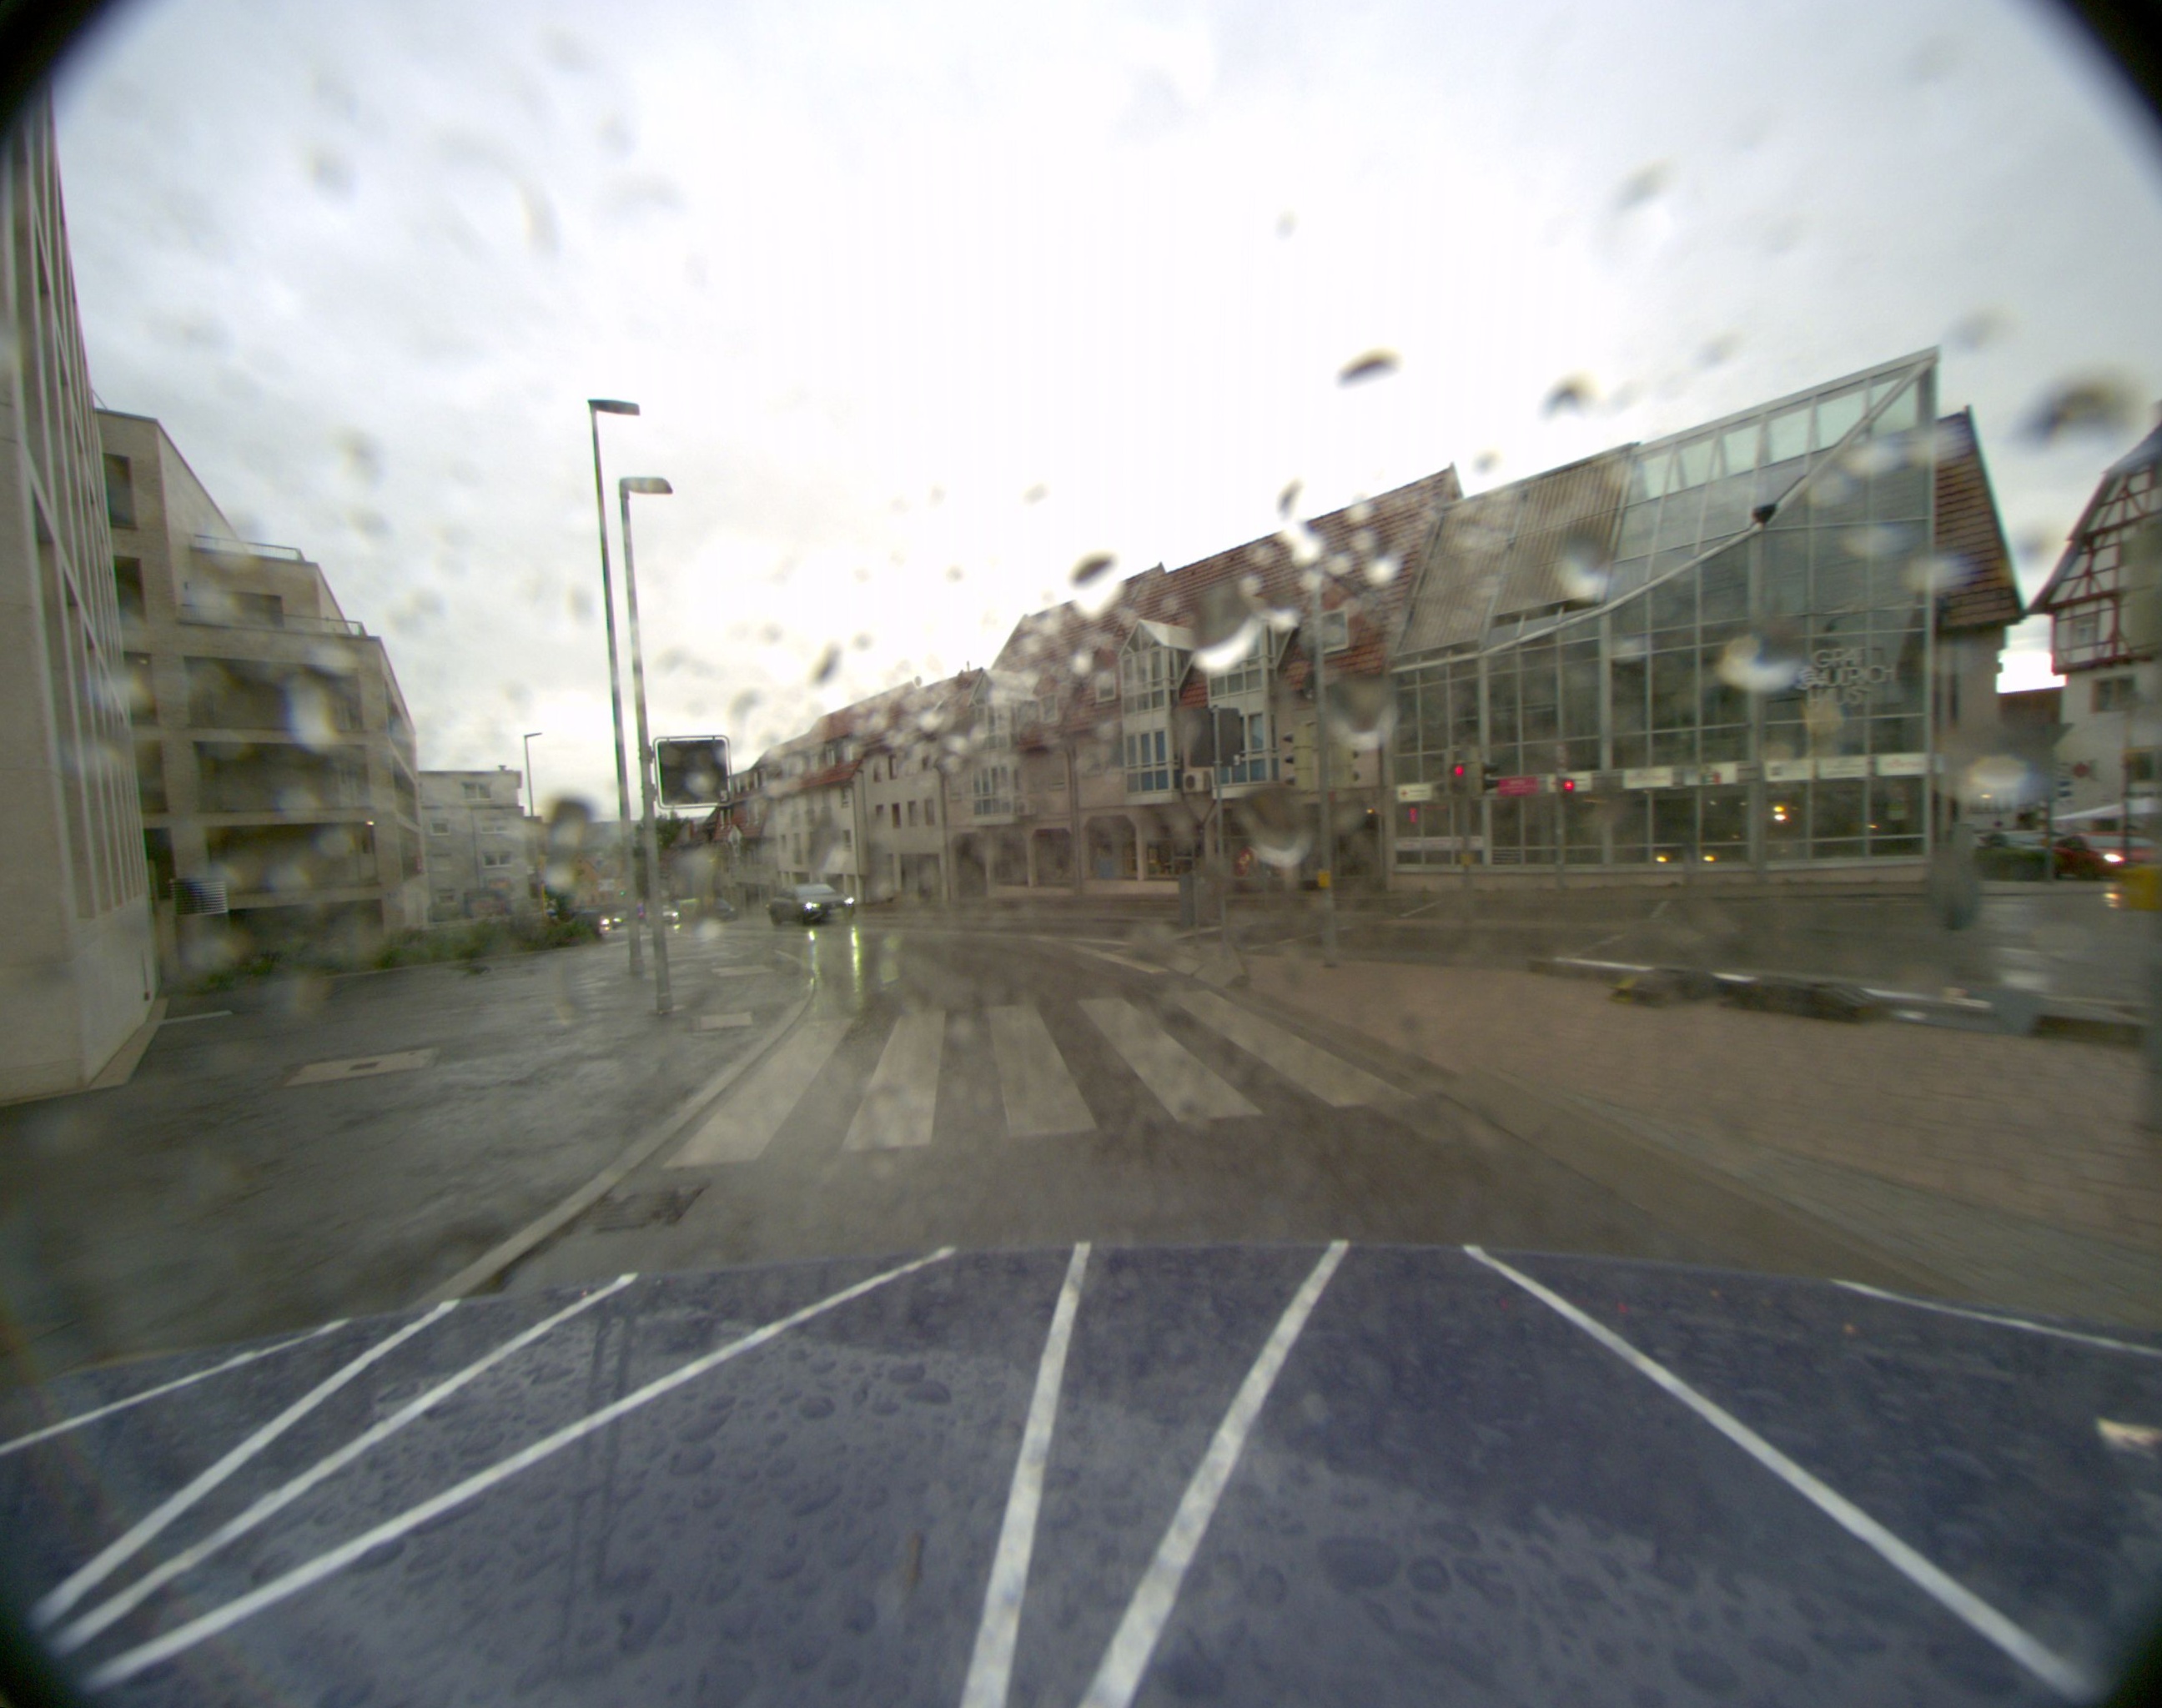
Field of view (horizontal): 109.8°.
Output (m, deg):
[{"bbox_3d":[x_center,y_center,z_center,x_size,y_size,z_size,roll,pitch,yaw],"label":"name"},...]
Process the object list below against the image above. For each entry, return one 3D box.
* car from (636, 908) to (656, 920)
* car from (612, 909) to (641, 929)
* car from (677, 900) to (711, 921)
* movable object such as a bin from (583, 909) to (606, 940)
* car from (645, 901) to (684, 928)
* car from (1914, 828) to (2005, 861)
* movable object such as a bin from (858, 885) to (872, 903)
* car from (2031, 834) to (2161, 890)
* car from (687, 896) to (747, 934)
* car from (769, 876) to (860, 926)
[{"bbox_3d":[-54.045,7.423,94.368,1.675,1.280,3.561,-2,-1,-36],"label":"car"},{"bbox_3d":[-43.837,6.296,73.233,1.972,1.597,4.375,-5,-3,-34],"label":"car"},{"bbox_3d":[-34.237,4.997,67.175,1.791,1.620,4.206,-5,-1,-39],"label":"car"},{"bbox_3d":[-17.589,2.536,27.475,0.598,1.056,0.577,-4,-1,-36],"label":"movable object such as a bin"},{"bbox_3d":[-30.281,4.397,55.135,1.972,1.597,4.375,-5,-3,-34],"label":"car"},{"bbox_3d":[37.546,-0.408,32.556,1.740,1.281,3.238,-3,-1,34],"label":"car"},{"bbox_3d":[-13.519,2.506,47.567,0.510,1.000,0.584,-5,-1,-40],"label":"movable object such as a bin"},{"bbox_3d":[30.670,0.199,22.740,1.740,1.498,3.690,-3,-1,34],"label":"car"},{"bbox_3d":[-20.448,3.434,42.605,1.972,1.759,4.375,-5,-3,-39],"label":"car"},{"bbox_3d":[-10.151,1.803,28.699,1.972,1.548,4.613,-5,-1,-35],"label":"car"}]
